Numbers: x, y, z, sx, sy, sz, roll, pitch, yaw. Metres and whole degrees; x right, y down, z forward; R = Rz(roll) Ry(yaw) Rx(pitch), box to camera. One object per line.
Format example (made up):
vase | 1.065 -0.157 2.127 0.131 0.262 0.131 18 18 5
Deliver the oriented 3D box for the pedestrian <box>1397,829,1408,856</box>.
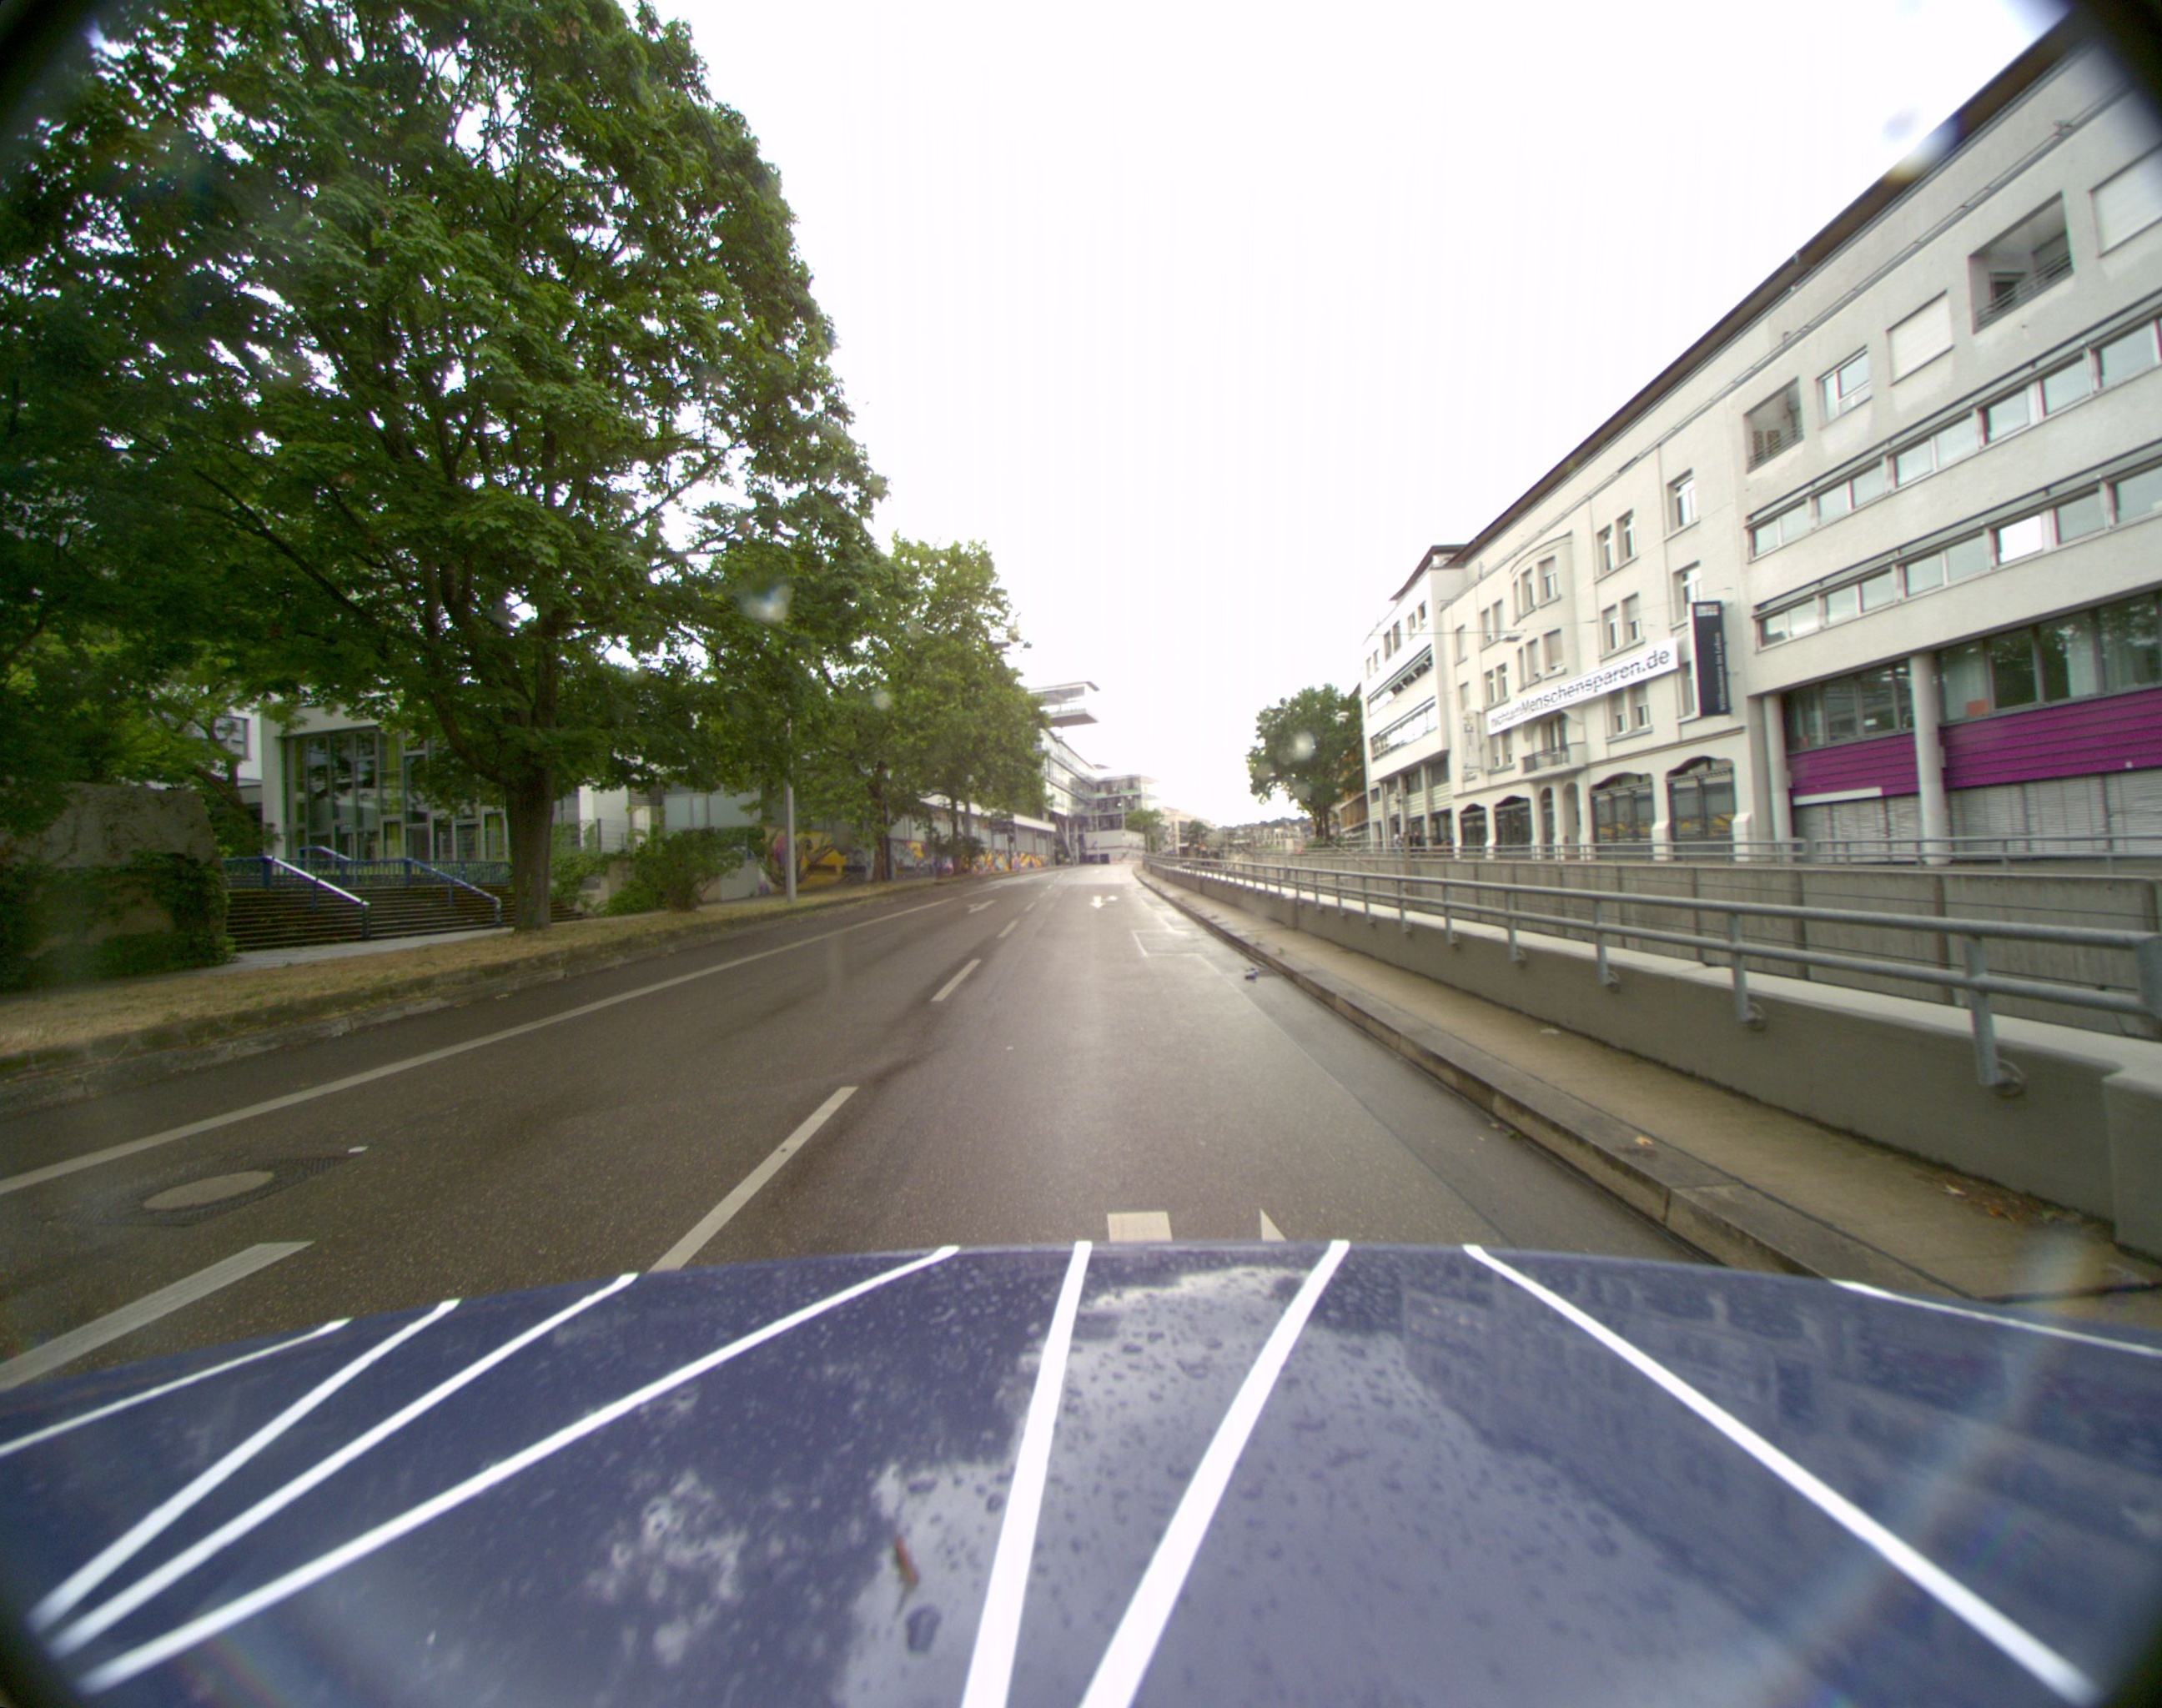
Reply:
pedestrian | 21.743 -0.775 51.336 0.469 1.792 0.548 -4 1 8

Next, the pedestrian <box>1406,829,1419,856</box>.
pedestrian | 22.471 -0.798 51.562 0.547 1.792 0.470 -4 1 -7

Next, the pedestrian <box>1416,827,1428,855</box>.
pedestrian | 22.562 -0.873 50.300 0.470 1.792 0.547 -4 1 3
